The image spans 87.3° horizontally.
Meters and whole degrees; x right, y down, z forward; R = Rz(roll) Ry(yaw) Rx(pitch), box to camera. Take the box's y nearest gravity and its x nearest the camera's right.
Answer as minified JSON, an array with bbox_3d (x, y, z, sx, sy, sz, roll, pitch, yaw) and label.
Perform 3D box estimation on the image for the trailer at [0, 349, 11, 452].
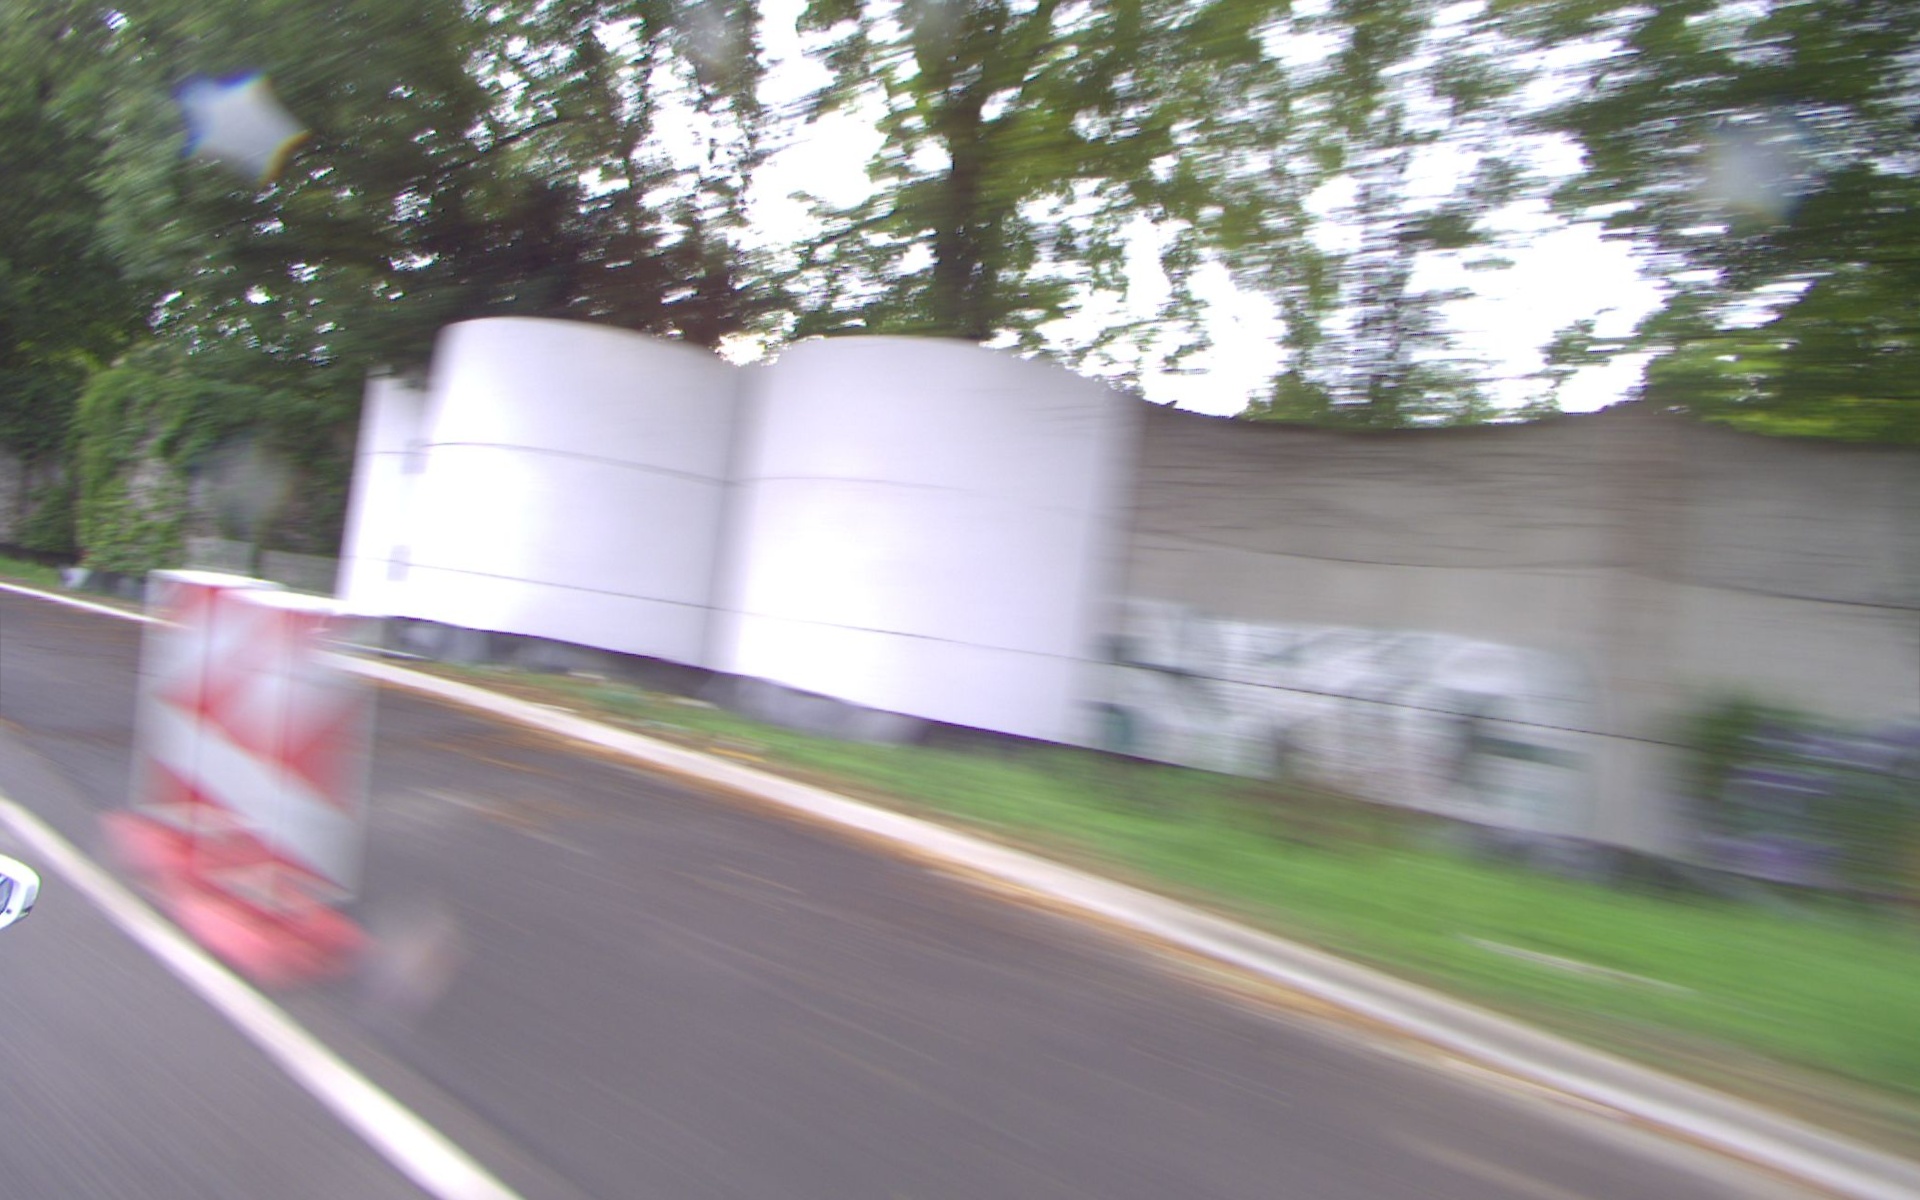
[{"bbox_3d":[-17.743,-2.343,15.805,5.859,3.633,2.311,6,0,30],"label":"trailer"}]
